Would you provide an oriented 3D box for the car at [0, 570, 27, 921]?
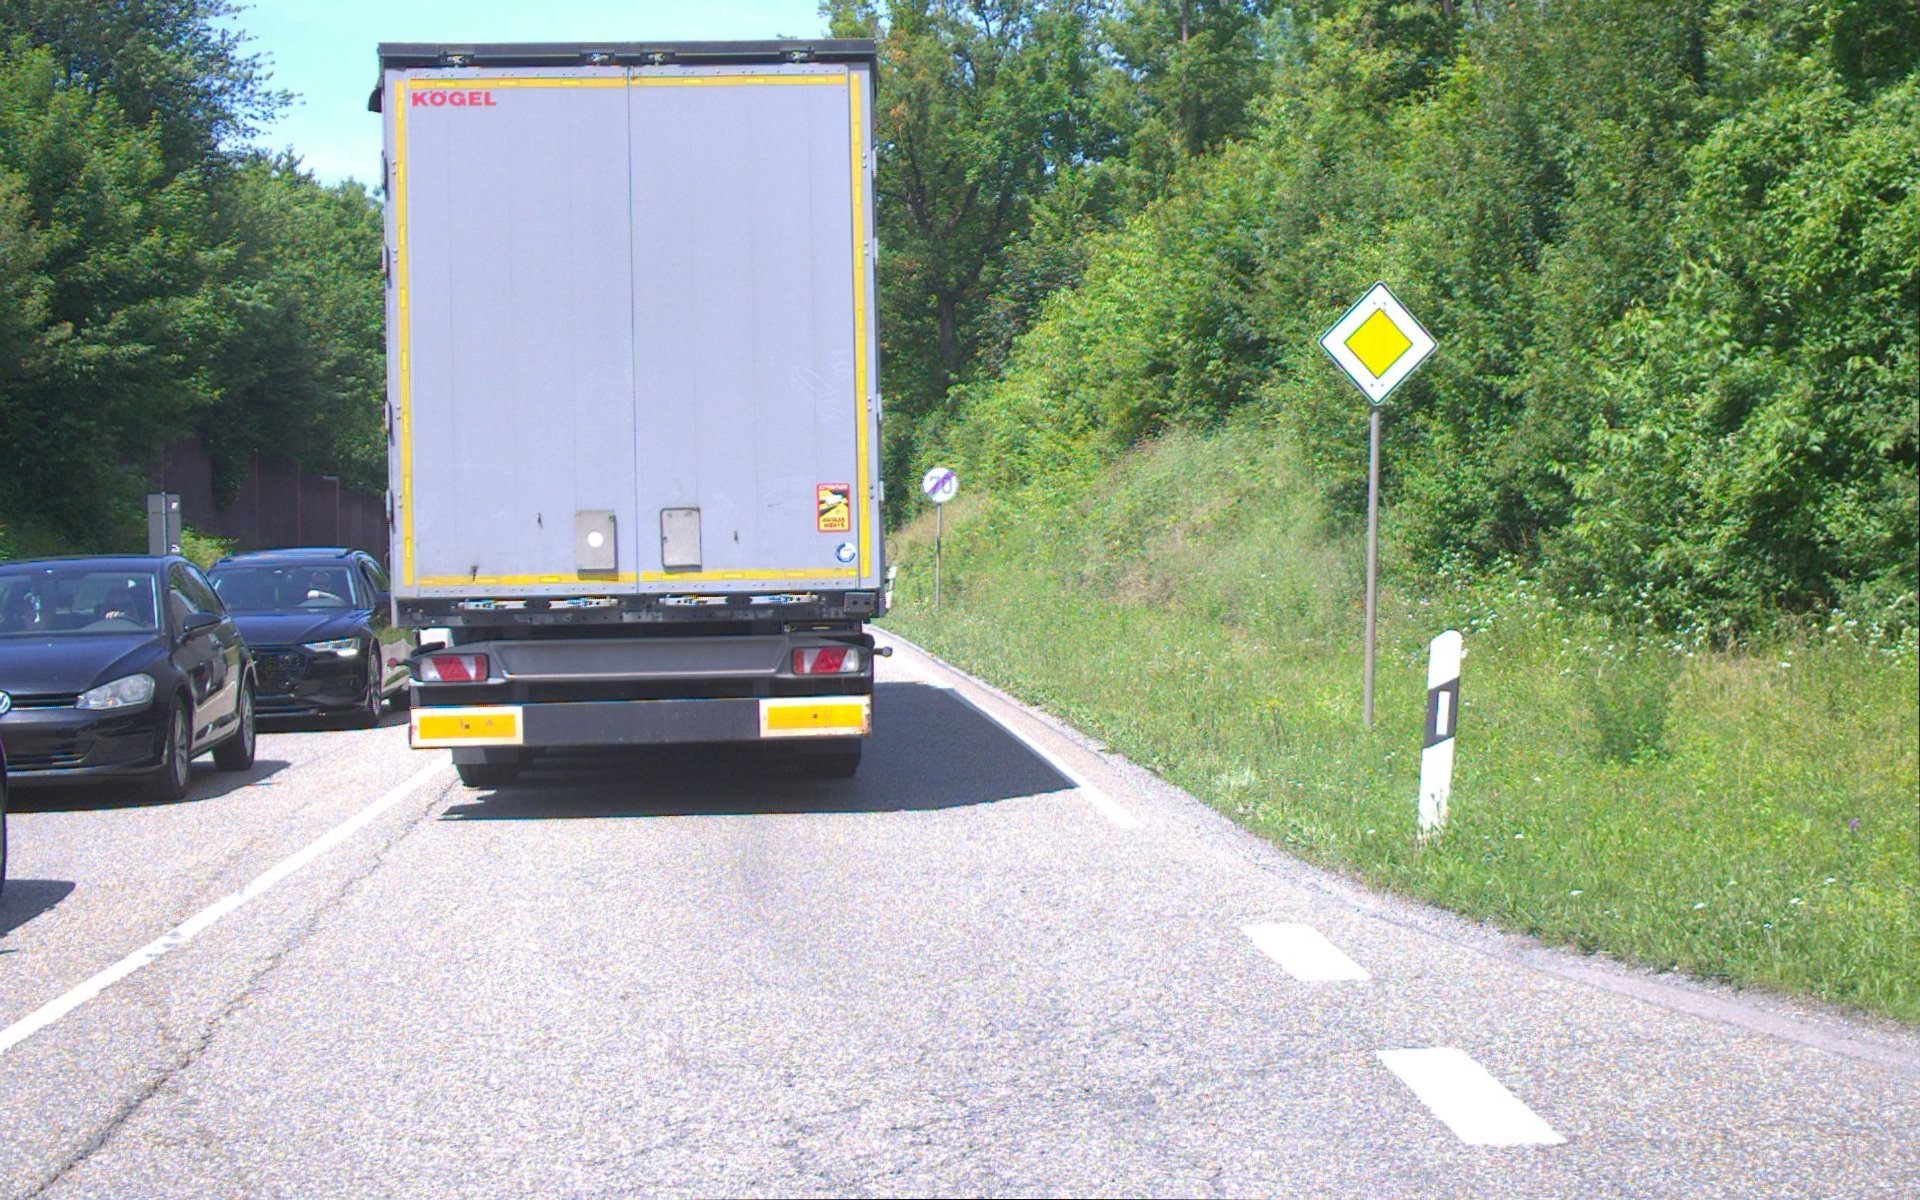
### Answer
[{"bbox_3d":[-4.735,0.673,12.366,1.781,1.442,4.641,-1,2,-4],"label":"car"}]

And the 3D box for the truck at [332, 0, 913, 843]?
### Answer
[{"bbox_3d":[-1.975,-1.180,20.825,2.822,4.588,6.666,-2,1,-5],"label":"truck"}]

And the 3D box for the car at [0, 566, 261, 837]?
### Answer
[{"bbox_3d":[-5.374,0.540,20.838,1.681,1.409,4.182,-1,1,-4],"label":"car"}]

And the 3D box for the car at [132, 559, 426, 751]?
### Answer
[{"bbox_3d":[-5.715,0.407,29.323,1.804,1.448,4.387,-1,1,-3],"label":"car"}]
